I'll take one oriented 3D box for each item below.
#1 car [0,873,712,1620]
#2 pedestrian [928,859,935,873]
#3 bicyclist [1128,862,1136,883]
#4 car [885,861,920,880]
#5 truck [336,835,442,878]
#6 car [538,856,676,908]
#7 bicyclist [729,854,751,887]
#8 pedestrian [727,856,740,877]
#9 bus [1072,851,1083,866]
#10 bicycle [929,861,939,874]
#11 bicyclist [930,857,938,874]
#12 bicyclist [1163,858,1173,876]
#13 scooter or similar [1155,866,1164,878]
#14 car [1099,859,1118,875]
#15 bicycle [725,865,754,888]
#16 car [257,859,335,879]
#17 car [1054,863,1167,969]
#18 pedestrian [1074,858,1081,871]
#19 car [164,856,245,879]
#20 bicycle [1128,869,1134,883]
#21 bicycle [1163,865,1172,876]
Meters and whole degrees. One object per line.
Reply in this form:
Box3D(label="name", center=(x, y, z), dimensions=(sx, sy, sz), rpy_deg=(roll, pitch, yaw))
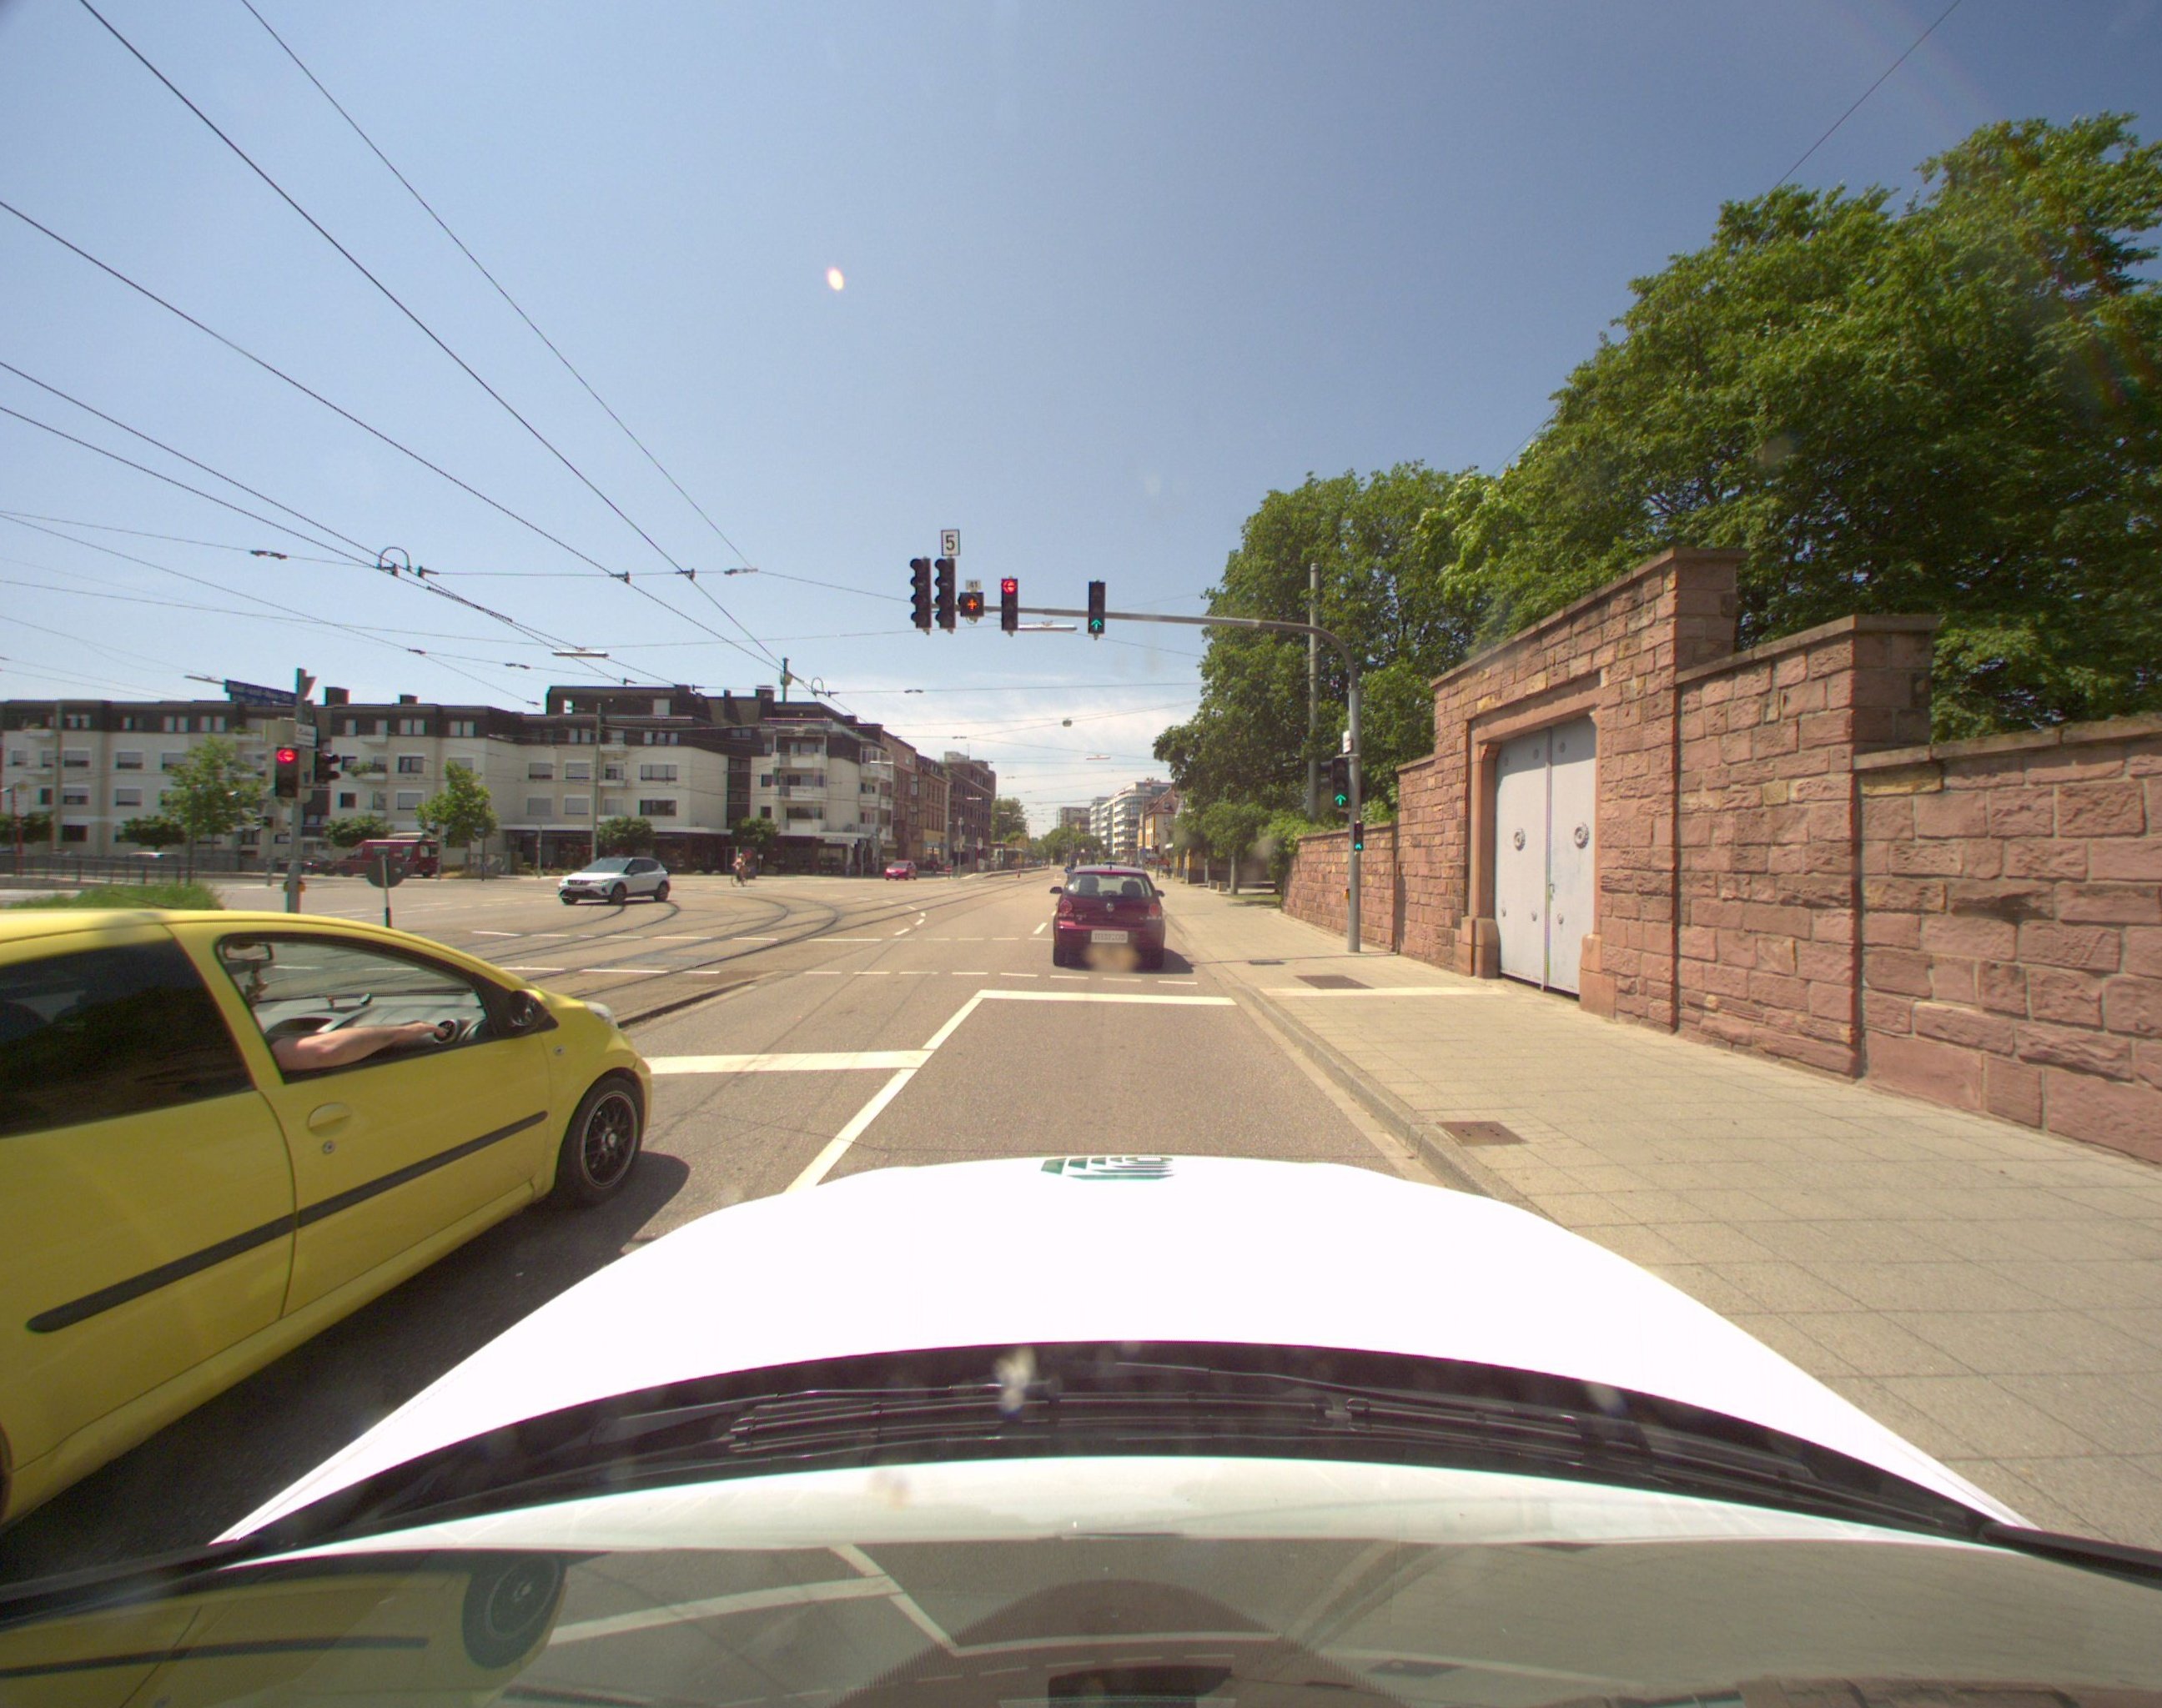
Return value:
Box3D(label="car", center=(-2.911, 0.822, 2.696), dimensions=(1.610, 1.421, 3.656), rpy_deg=(-2, -1, 1))
Box3D(label="pedestrian", center=(-17.138, 1.354, 93.495), dimensions=(0.612, 1.560, 0.640), rpy_deg=(0, 0, 1))
Box3D(label="bicyclist", center=(4.431, 1.609, 70.761), dimensions=(0.724, 1.760, 0.925), rpy_deg=(0, 0, 5))
Box3D(label="car", center=(-13.882, 1.269, 63.450), dimensions=(1.617, 1.484, 3.833), rpy_deg=(0, -1, 4))
Box3D(label="truck", center=(-44.886, 0.177, 52.873), dimensions=(5.006, 2.698, 2.188), rpy_deg=(0, -1, 2))
Box3D(label="car", center=(-15.578, 0.879, 27.058), dimensions=(1.986, 1.553, 4.141), rpy_deg=(0, -1, 2))
Box3D(label="bicyclist", center=(-18.617, 0.894, 44.466), dimensions=(0.692, 1.765, 1.137), rpy_deg=(1, 0, 1))
Box3D(label="pedestrian", center=(-28.557, 1.004, 66.950), dimensions=(0.697, 1.697, 0.808), rpy_deg=(1, -1, 1))
Box3D(label="bus", center=(-0.743, 0.896, 163.451), dimensions=(2.139, 3.003, 6.569), rpy_deg=(0, -1, -1))
Box3D(label="bicycle", center=(-15.628, 1.448, 86.773), dimensions=(0.674, 1.304, 2.104), rpy_deg=(1, 0, 0))
Box3D(label="bicyclist", center=(-15.655, 1.208, 86.752), dimensions=(0.730, 1.762, 1.134), rpy_deg=(1, 0, -1))
Box3D(label="bicyclist", center=(8.214, 1.215, 76.690), dimensions=(0.829, 1.618, 0.860), rpy_deg=(-3, 0, 3))
Box3D(label="scooter or similar", center=(7.930, 1.814, 82.458), dimensions=(0.340, 1.178, 1.457), rpy_deg=(1, -1, -22))
Box3D(label="car", center=(3.053, 1.423, 88.298), dimensions=(1.985, 1.624, 4.634), rpy_deg=(0, -1, 2))
Box3D(label="bicycle", center=(-18.645, 1.222, 44.503), dimensions=(0.692, 1.149, 1.932), rpy_deg=(1, 0, 1))
Box3D(label="car", center=(-50.835, 0.974, 52.757), dimensions=(3.555, 1.219, 1.591), rpy_deg=(0, -1, 2))
Box3D(label="car", center=(0.447, 0.869, 12.771), dimensions=(1.555, 1.453, 3.062), rpy_deg=(1, -1, 1))
Box3D(label="pedestrian", center=(-0.410, 1.335, 103.040), dimensions=(0.760, 1.674, 1.101), rpy_deg=(1, -1, 2))
Box3D(label="car", center=(-56.274, 0.851, 52.321), dimensions=(3.555, 1.433, 1.591), rpy_deg=(0, -1, 2))
Box3D(label="bicycle", center=(4.341, 1.877, 70.598), dimensions=(0.373, 1.197, 1.908), rpy_deg=(0, 0, 6))
Box3D(label="bicycle", center=(8.167, 1.529, 76.764), dimensions=(0.665, 1.002, 1.865), rpy_deg=(-3, 0, 3))
